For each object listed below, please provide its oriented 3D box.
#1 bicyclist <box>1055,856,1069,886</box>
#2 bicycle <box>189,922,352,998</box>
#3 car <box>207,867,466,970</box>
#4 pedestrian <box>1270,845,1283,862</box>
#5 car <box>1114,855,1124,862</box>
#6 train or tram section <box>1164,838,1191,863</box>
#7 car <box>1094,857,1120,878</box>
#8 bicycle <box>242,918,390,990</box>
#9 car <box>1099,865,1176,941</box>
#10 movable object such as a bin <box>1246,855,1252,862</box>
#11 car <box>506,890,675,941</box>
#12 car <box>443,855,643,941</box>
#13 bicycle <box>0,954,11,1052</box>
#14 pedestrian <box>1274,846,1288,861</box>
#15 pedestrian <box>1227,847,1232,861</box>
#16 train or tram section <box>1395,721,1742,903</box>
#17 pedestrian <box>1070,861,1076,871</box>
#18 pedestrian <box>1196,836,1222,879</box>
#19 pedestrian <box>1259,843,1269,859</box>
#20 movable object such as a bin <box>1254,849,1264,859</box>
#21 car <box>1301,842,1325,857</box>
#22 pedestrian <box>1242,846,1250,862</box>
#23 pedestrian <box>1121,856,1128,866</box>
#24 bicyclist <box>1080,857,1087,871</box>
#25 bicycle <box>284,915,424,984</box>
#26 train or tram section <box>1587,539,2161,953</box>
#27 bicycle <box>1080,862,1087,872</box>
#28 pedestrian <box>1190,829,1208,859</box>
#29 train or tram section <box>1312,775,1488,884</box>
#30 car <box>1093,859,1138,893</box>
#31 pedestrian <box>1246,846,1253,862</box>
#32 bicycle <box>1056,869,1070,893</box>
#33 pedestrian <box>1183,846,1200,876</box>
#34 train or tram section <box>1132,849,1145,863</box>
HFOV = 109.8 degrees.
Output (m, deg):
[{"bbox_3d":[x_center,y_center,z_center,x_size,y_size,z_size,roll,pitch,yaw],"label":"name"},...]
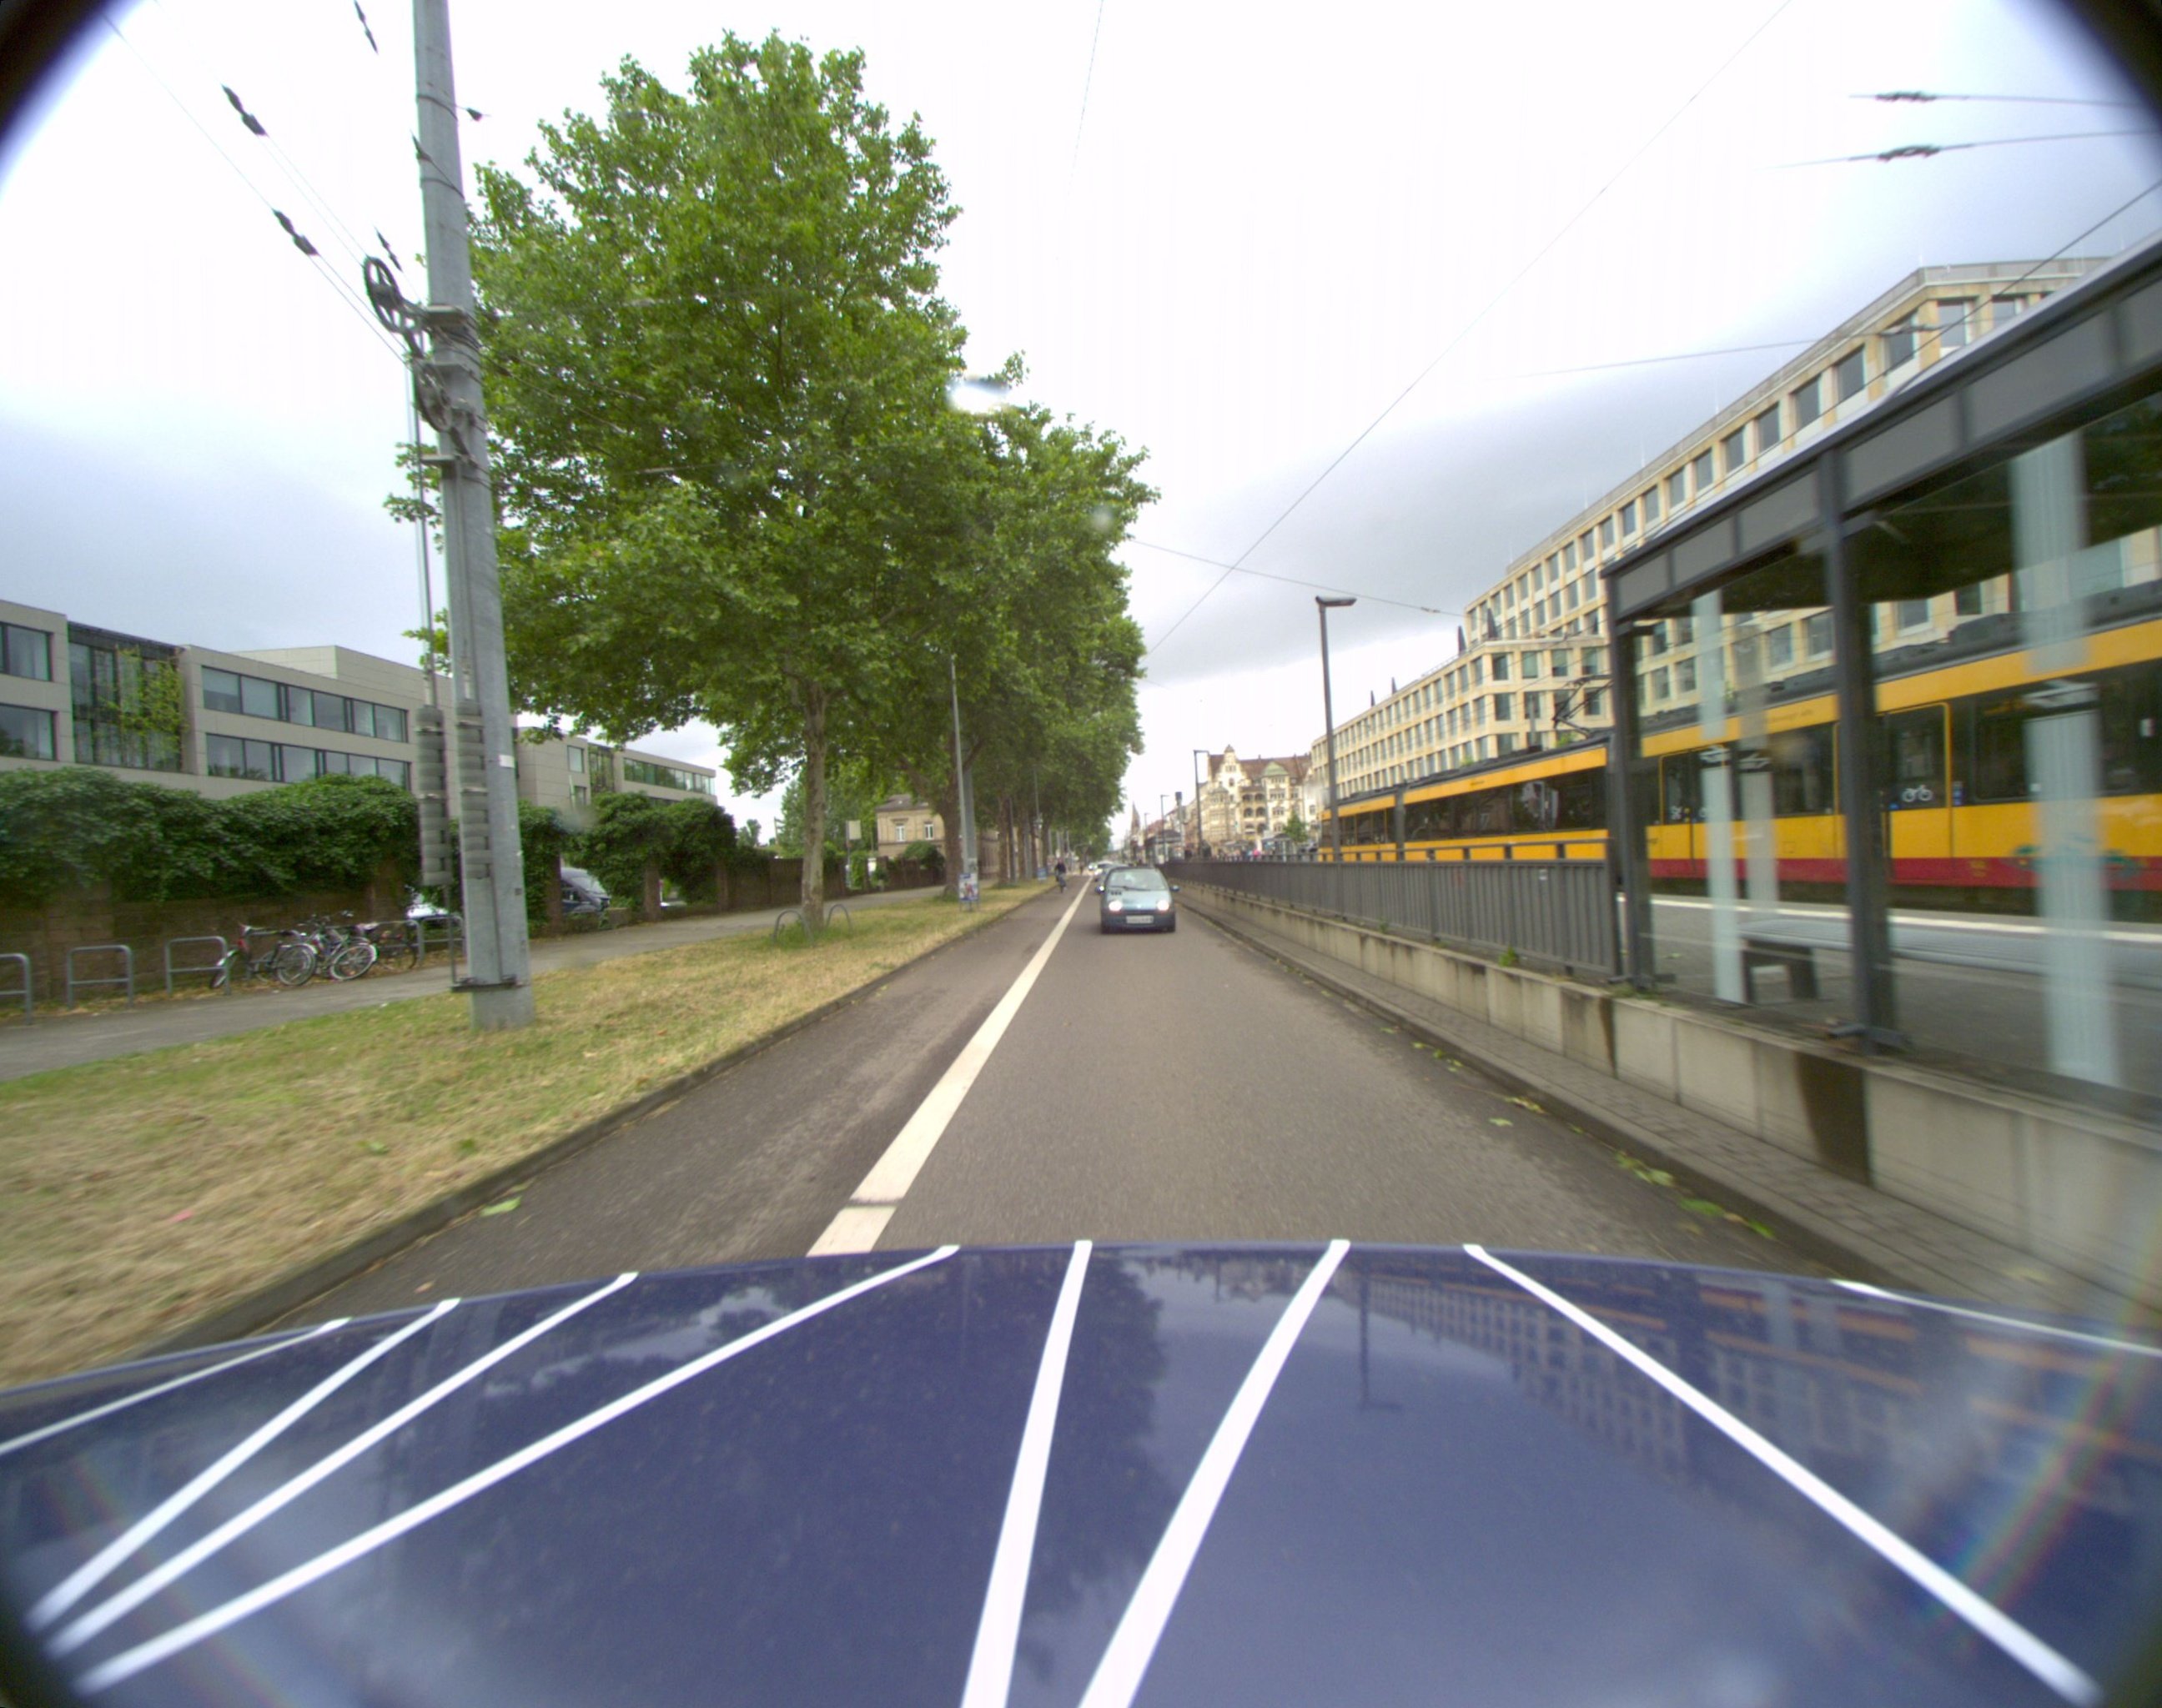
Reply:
[{"bbox_3d":[-0.985,0.896,40.107,0.642,1.522,0.664,-3,1,0],"label":"bicyclist"},{"bbox_3d":[-12.963,1.683,12.185,1.979,1.088,0.550,-2,1,0],"label":"bicycle"},{"bbox_3d":[-19.879,1.670,20.449,5.108,2.251,1.666,-4,1,-1],"label":"car"},{"bbox_3d":[19.683,-0.072,76.419,1.040,1.676,0.939,-3,1,5],"label":"pedestrian"},{"bbox_3d":[8.959,1.079,179.518,1.869,1.630,3.775,-3,0,0],"label":"car"},{"bbox_3d":[15.882,-0.594,126.387,2.862,3.670,13.520,-3,0,1],"label":"train or tram section"},{"bbox_3d":[2.082,1.052,60.792,1.998,1.443,4.100,-3,0,2],"label":"car"},{"bbox_3d":[-12.882,1.670,12.821,1.905,1.091,0.550,-2,1,0],"label":"bicycle"},{"bbox_3d":[1.259,1.037,17.397,1.534,1.464,3.354,-2,0,3],"label":"car"},{"bbox_3d":[17.946,0.459,81.070,0.536,0.743,0.469,-3,1,9],"label":"movable object such as a bin"},{"bbox_3d":[-18.747,2.343,29.227,5.108,1.403,2.003,-4,0,-1],"label":"car"},{"bbox_3d":[-18.615,1.464,26.497,5.245,2.407,2.075,-5,1,-1],"label":"car"},{"bbox_3d":[-12.973,1.686,8.241,1.926,1.085,0.550,-2,1,0],"label":"bicycle"},{"bbox_3d":[19.651,-0.042,74.682,1.040,1.364,0.939,-3,1,5],"label":"pedestrian"},{"bbox_3d":[18.409,-0.009,94.149,0.596,1.759,0.589,-3,1,9],"label":"pedestrian"},{"bbox_3d":[13.066,-0.951,22.392,3.171,3.839,11.312,-3,0,2],"label":"train or tram section"},{"bbox_3d":[-1.223,1.798,114.492,0.552,1.519,0.639,-3,1,19],"label":"pedestrian"},{"bbox_3d":[6.196,0.170,36.890,1.061,2.002,0.840,-3,1,2],"label":"pedestrian"},{"bbox_3d":[19.129,-0.305,79.469,0.580,1.598,0.655,-4,1,-31],"label":"pedestrian"},{"bbox_3d":[18.565,0.016,79.240,0.622,1.015,0.721,-4,1,-31],"label":"movable object such as a bin"},{"bbox_3d":[29.195,-0.584,95.757,1.998,1.652,4.001,-3,0,4],"label":"car"},{"bbox_3d":[19.196,0.007,88.232,0.589,1.759,0.596,-4,1,-35],"label":"pedestrian"},{"bbox_3d":[7.149,1.186,124.762,0.862,1.633,0.651,-4,1,-40],"label":"pedestrian"},{"bbox_3d":[0.290,1.259,95.148,0.812,1.591,1.190,-3,1,1],"label":"bicyclist"},{"bbox_3d":[-12.793,1.673,13.400,1.894,1.098,0.550,-2,1,0],"label":"bicycle"},{"bbox_3d":[12.557,-1.167,9.852,3.188,4.154,13.621,-3,0,2],"label":"train or tram section"},{"bbox_3d":[0.305,1.612,95.130,0.814,1.163,2.277,-3,0,0],"label":"bicycle"},{"bbox_3d":[7.360,-0.619,47.432,0.672,1.783,1.112,-3,1,-11],"label":"pedestrian"},{"bbox_3d":[13.524,-0.938,33.769,3.245,3.839,11.312,-3,0,2],"label":"train or tram section"},{"bbox_3d":[1.668,1.040,37.279,1.998,1.443,4.100,-3,0,2],"label":"car"},{"bbox_3d":[17.849,0.006,80.543,0.536,1.598,0.565,-3,1,9],"label":"pedestrian"},{"bbox_3d":[-0.939,1.401,40.250,0.654,1.143,2.283,-3,0,0],"label":"bicycle"},{"bbox_3d":[6.699,0.420,46.110,0.672,1.783,1.112,-3,1,-7],"label":"pedestrian"},{"bbox_3d":[14.785,0.434,195.313,2.651,3.417,13.619,-3,0,2],"label":"train or tram section"}]
